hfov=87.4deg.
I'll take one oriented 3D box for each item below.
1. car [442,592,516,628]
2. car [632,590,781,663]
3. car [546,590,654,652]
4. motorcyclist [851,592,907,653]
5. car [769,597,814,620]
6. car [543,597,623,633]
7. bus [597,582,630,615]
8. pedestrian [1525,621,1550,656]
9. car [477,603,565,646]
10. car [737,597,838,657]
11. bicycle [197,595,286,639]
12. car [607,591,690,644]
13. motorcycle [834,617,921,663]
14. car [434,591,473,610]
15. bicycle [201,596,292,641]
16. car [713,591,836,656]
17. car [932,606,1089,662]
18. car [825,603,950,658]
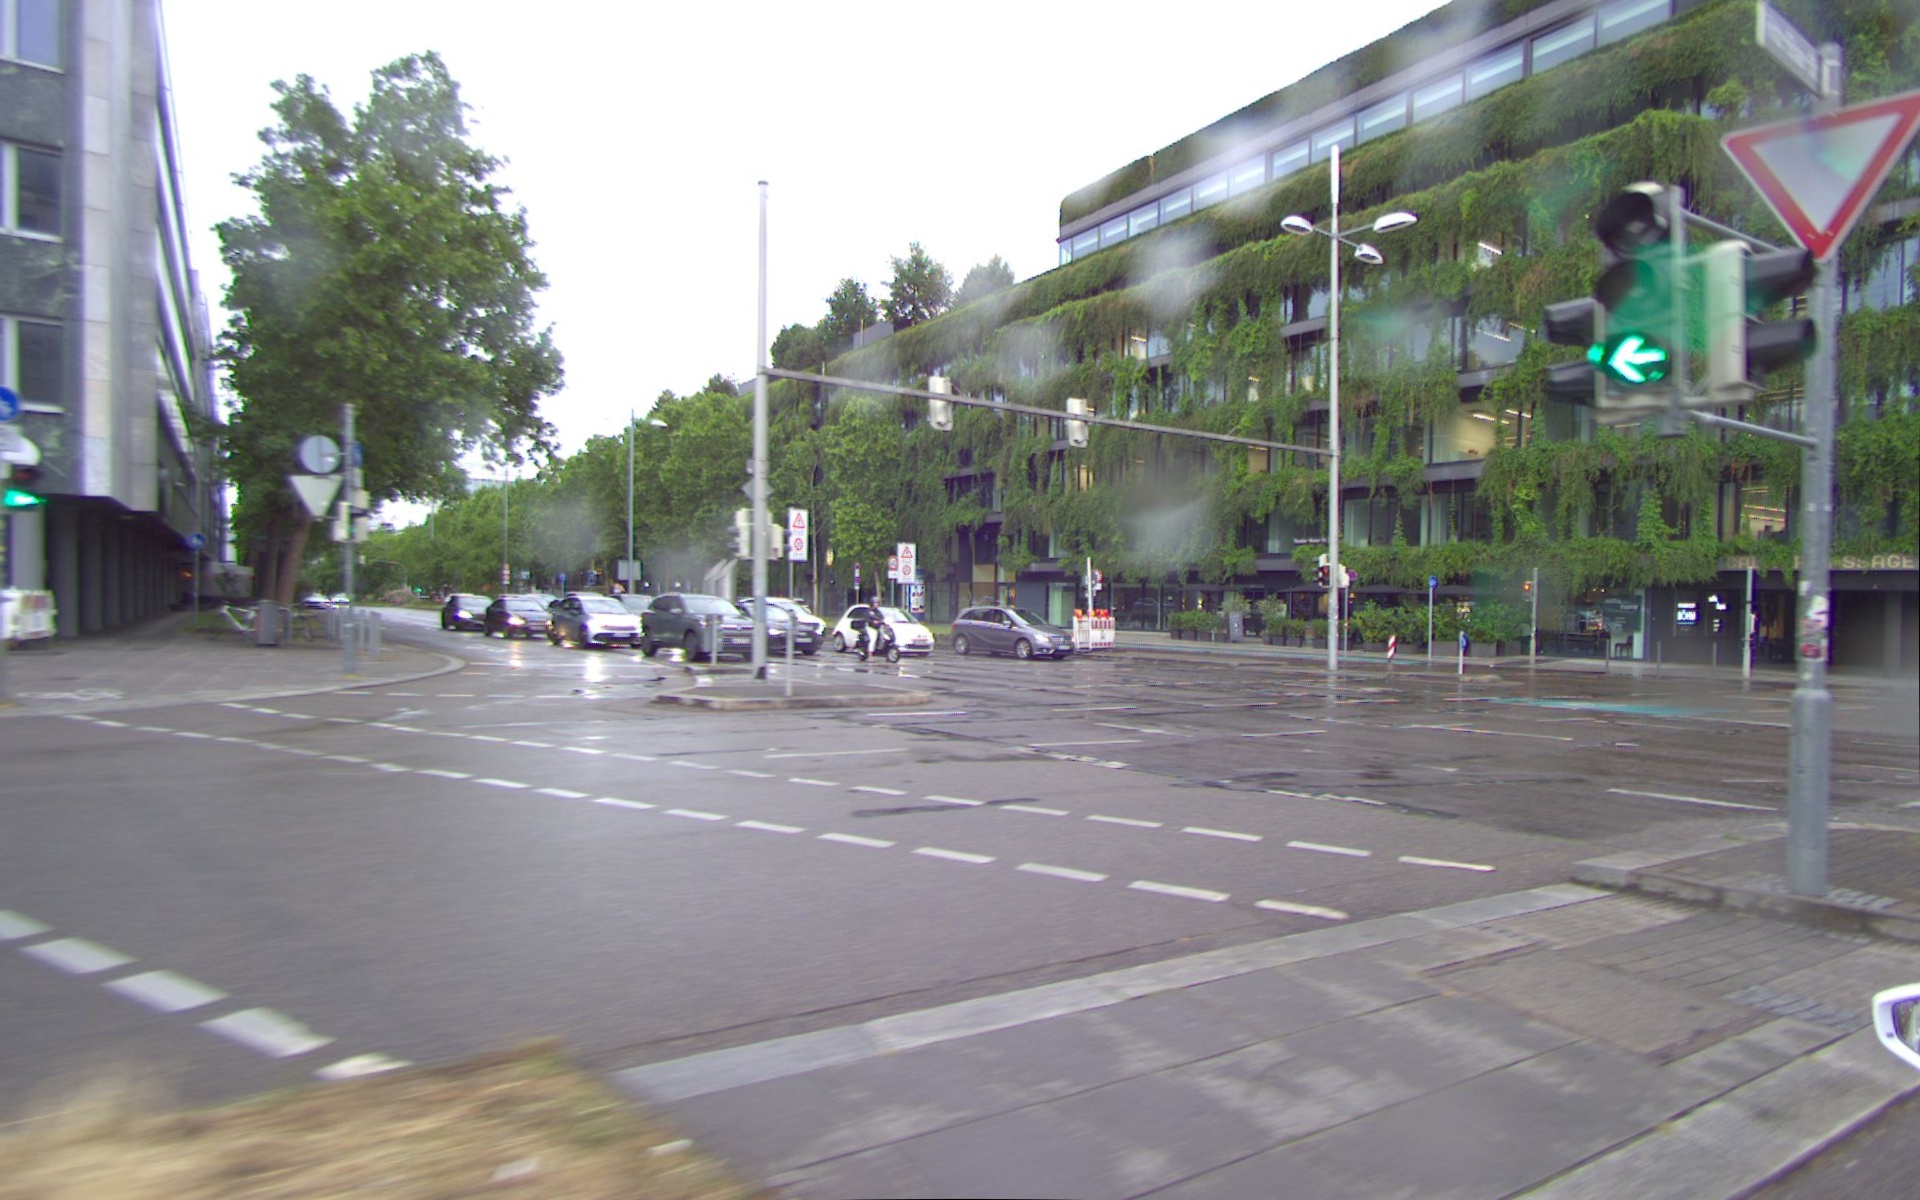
[{"bbox_3d":[-20.145,0.403,41.985,1.982,1.389,4.131,2,-1,-37],"label":"car"},{"bbox_3d":[-6.625,0.642,25.960,1.984,1.709,4.314,2,-1,-41],"label":"car"},{"bbox_3d":[-11.143,0.601,30.973,1.983,1.773,3.956,2,-1,-38],"label":"car"},{"bbox_3d":[-2.096,0.581,26.005,1.153,1.492,0.832,2,0,40],"label":"motorcyclist"},{"bbox_3d":[-12.439,0.601,74.188,1.784,1.588,3.962,3,-1,-34],"label":"car"},{"bbox_3d":[-15.787,0.595,41.966,1.982,1.389,4.131,2,-1,-37],"label":"car"},{"bbox_3d":[-37.043,-0.208,107.208,1.783,3.385,5.922,3,0,-34],"label":"bus"},{"bbox_3d":[22.191,1.472,38.604,0.593,1.328,0.609,2,0,-35],"label":"pedestrian"},{"bbox_3d":[-16.023,0.869,36.566,1.982,1.389,4.131,2,-1,-37],"label":"car"},{"bbox_3d":[-6.015,0.909,34.773,1.978,1.923,4.139,2,-1,-32],"label":"car"},{"bbox_3d":[-18.107,0.442,25.358,1.766,1.066,0.581,2,0,-35],"label":"bicycle"},{"bbox_3d":[-11.410,0.605,36.608,1.841,1.791,4.139,2,-1,-32],"label":"car"},{"bbox_3d":[-2.154,1.020,26.042,2.331,1.068,0.831,2,0,41],"label":"motorcycle"},{"bbox_3d":[-45.170,0.035,89.481,1.919,1.508,4.849,2,-1,-41],"label":"car"},{"bbox_3d":[-17.430,0.462,24.579,1.766,1.066,0.581,2,0,-35],"label":"bicycle"},{"bbox_3d":[-5.509,0.650,29.465,1.981,1.773,3.958,2,-1,-36],"label":"car"},{"bbox_3d":[1.490,1.013,31.332,4.842,1.508,1.922,1,-1,45],"label":"car"},{"bbox_3d":[-2.256,0.879,30.392,1.981,1.494,3.958,2,-1,-36],"label":"car"}]
